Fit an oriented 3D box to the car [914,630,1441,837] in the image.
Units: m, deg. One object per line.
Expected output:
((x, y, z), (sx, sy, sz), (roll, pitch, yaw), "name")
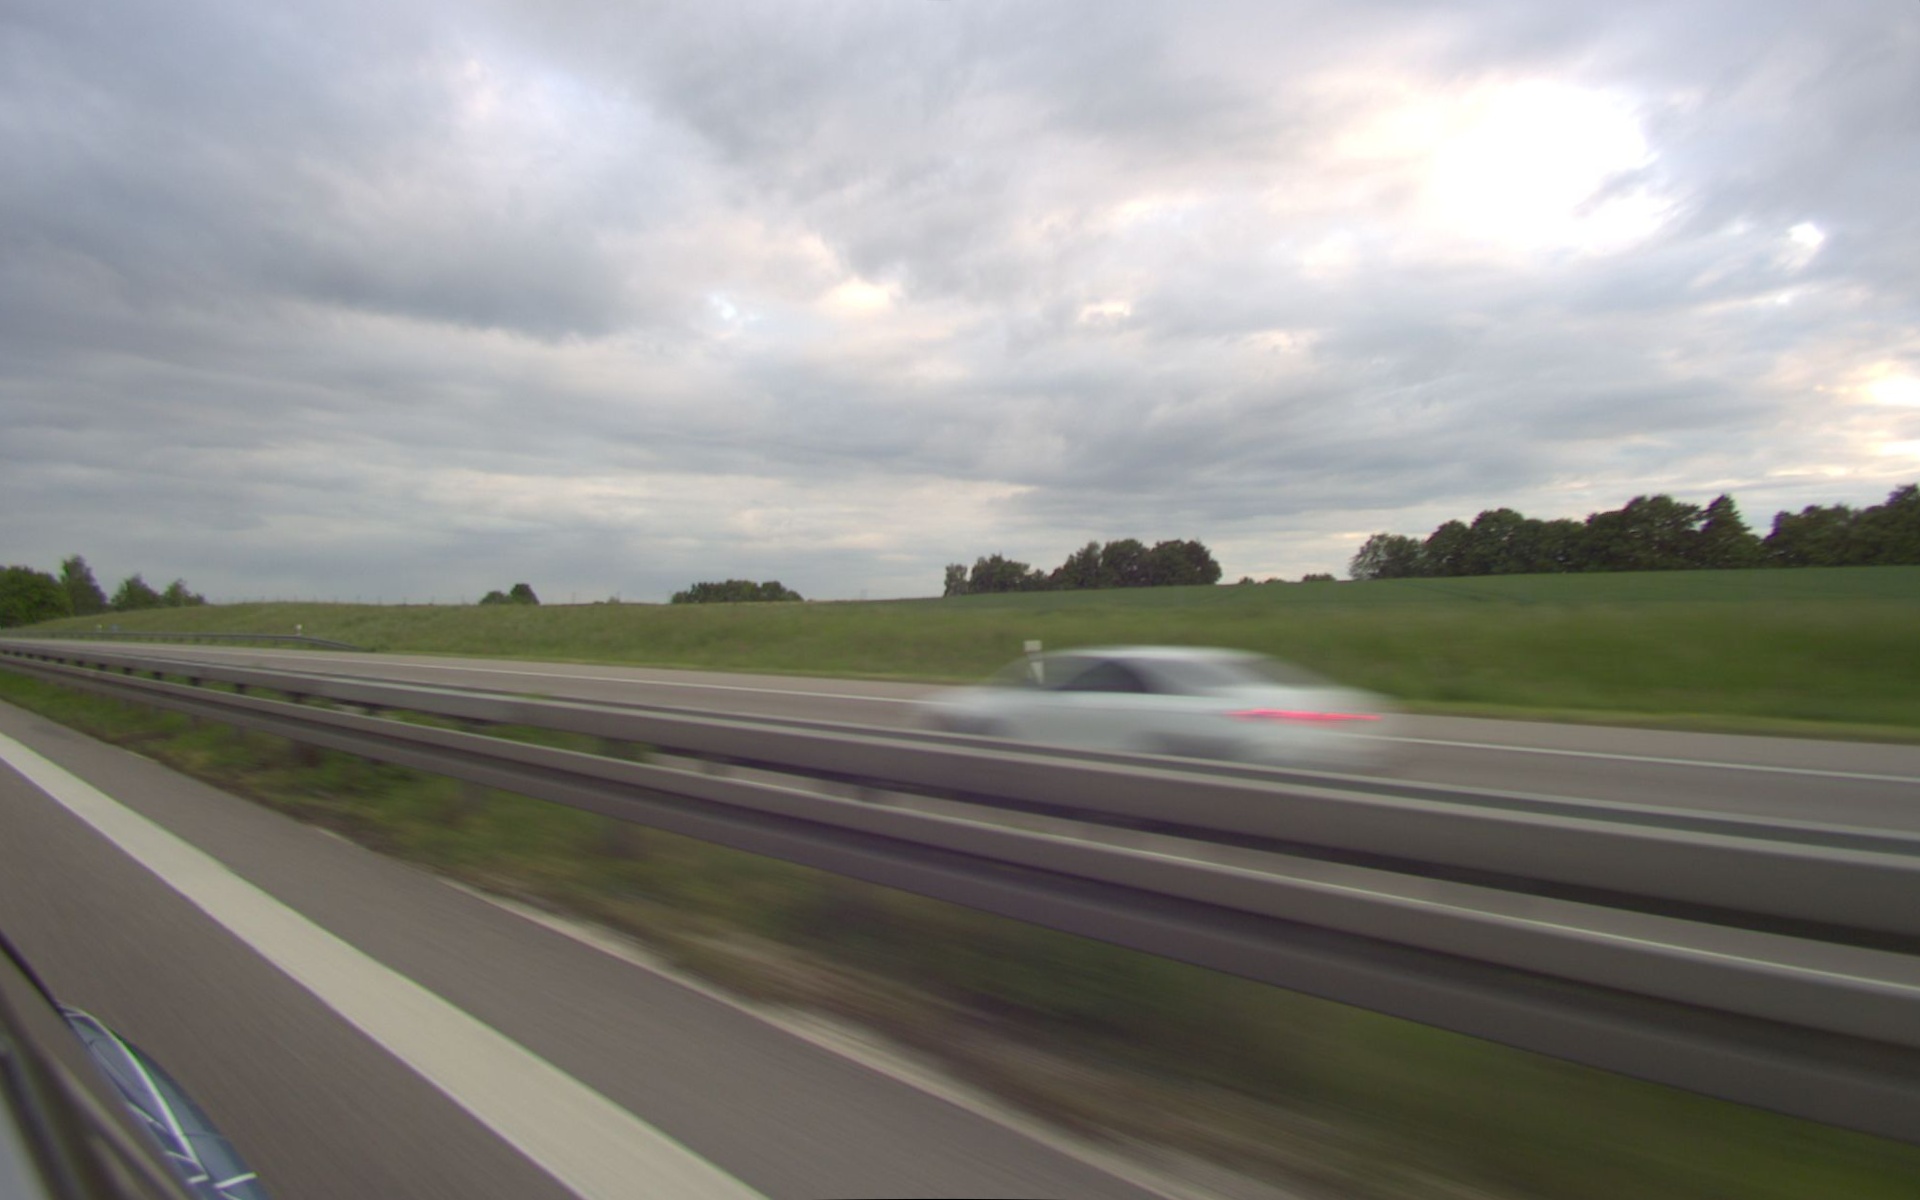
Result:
((1.914, 1.098, 10.086), (4.928, 1.497, 1.711), (-1, 0, 41), "car")
